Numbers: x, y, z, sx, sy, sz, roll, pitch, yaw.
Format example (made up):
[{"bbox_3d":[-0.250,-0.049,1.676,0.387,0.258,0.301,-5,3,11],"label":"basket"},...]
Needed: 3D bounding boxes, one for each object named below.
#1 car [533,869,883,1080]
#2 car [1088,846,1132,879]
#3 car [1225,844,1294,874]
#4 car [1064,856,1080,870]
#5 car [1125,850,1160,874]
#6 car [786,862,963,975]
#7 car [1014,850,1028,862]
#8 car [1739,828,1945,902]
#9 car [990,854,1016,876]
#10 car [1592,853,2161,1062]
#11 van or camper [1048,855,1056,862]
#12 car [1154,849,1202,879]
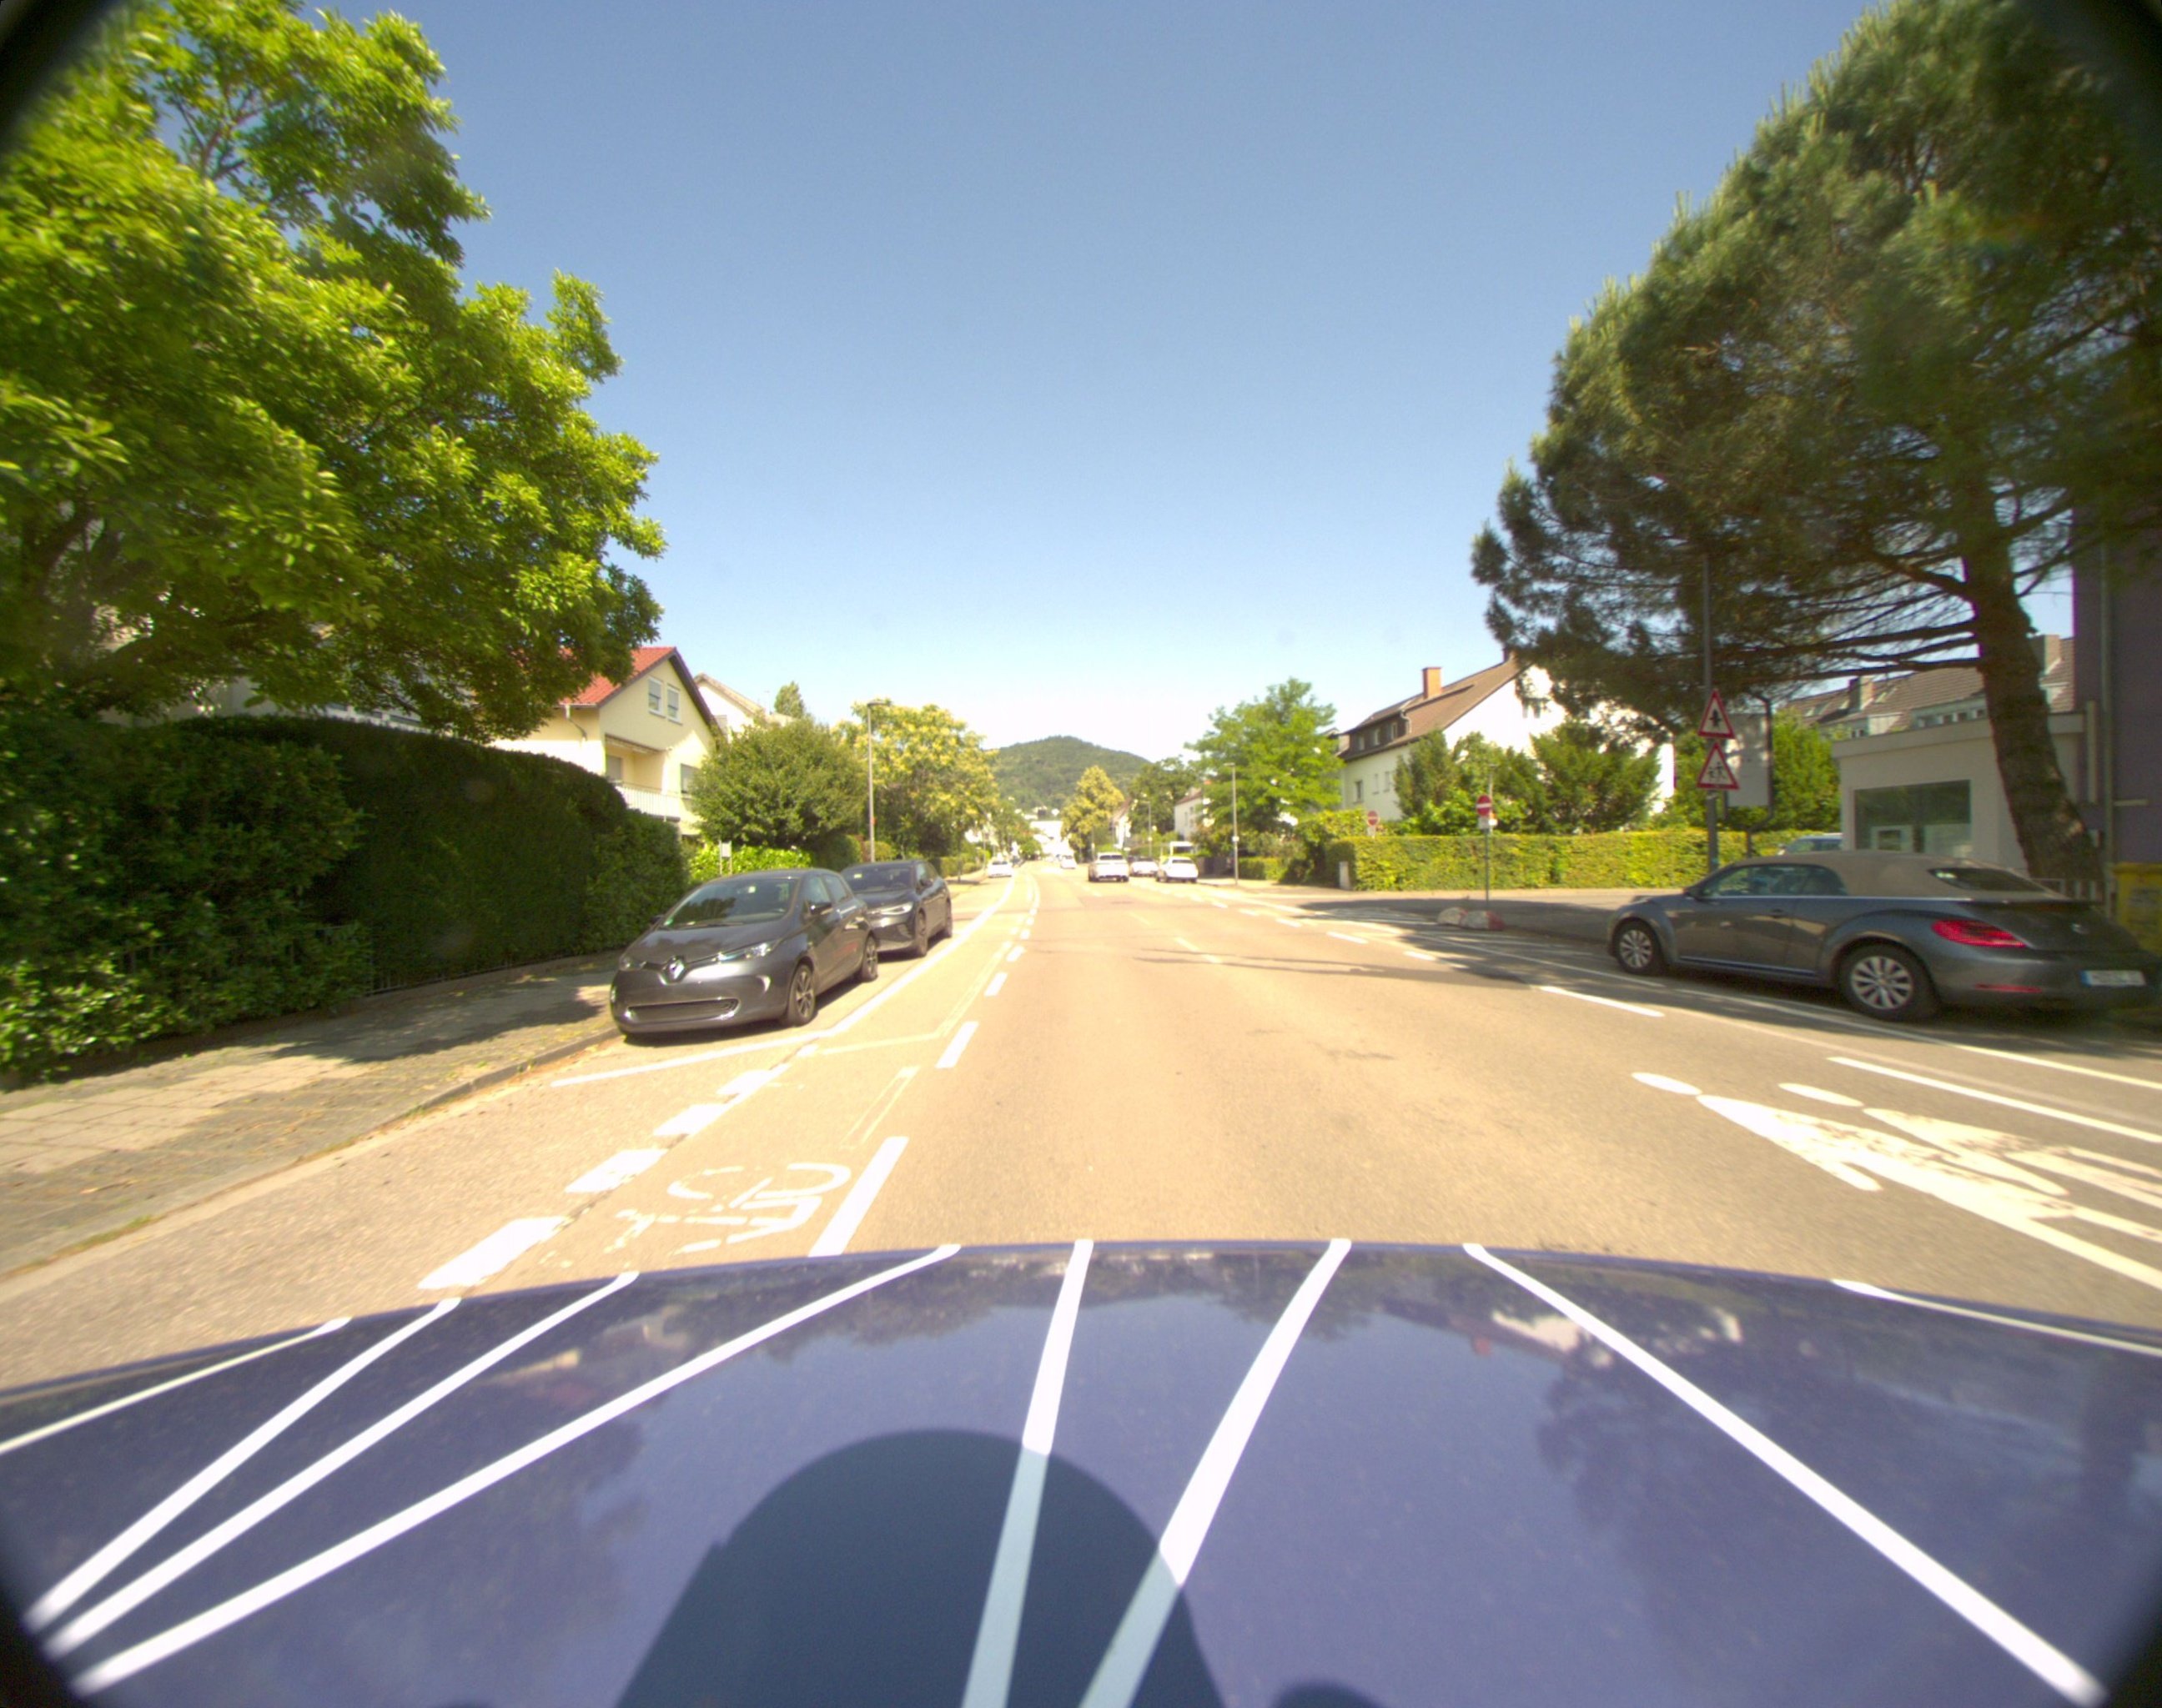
[{"bbox_3d":[-3.643,1.052,8.347,1.817,1.550,3.916,-5,0,-1],"label":"car"},{"bbox_3d":[1.609,0.463,43.802,2.006,1.803,4.763,0,0,-4],"label":"car"},{"bbox_3d":[11.073,0.288,47.287,3.995,1.805,2.001,0,0,7],"label":"car"},{"bbox_3d":[-1.135,1.179,96.323,1.866,1.741,3.999,0,0,-4],"label":"car"},{"bbox_3d":[4.356,0.542,54.540,1.999,1.608,3.999,-1,0,-3],"label":"car"},{"bbox_3d":[-3.429,0.984,13.609,1.816,1.550,4.600,-4,0,0],"label":"car"},{"bbox_3d":[-9.200,0.319,116.319,2.000,1.696,3.997,-2,1,-7],"label":"car"},{"bbox_3d":[21.764,0.309,21.856,3.997,2.002,2.000,0,0,-2],"label":"car"},{"bbox_3d":[-6.335,0.864,61.543,2.000,1.696,3.997,-2,1,-7],"label":"car"},{"bbox_3d":[7.413,0.733,7.430,1.846,1.449,4.192,0,0,-4],"label":"car"},{"bbox_3d":[-7.928,1.215,206.754,1.998,1.705,4.000,-1,0,0],"label":"van or camper"},{"bbox_3d":[5.329,0.538,42.175,1.959,1.543,3.999,-1,0,-3],"label":"car"}]
